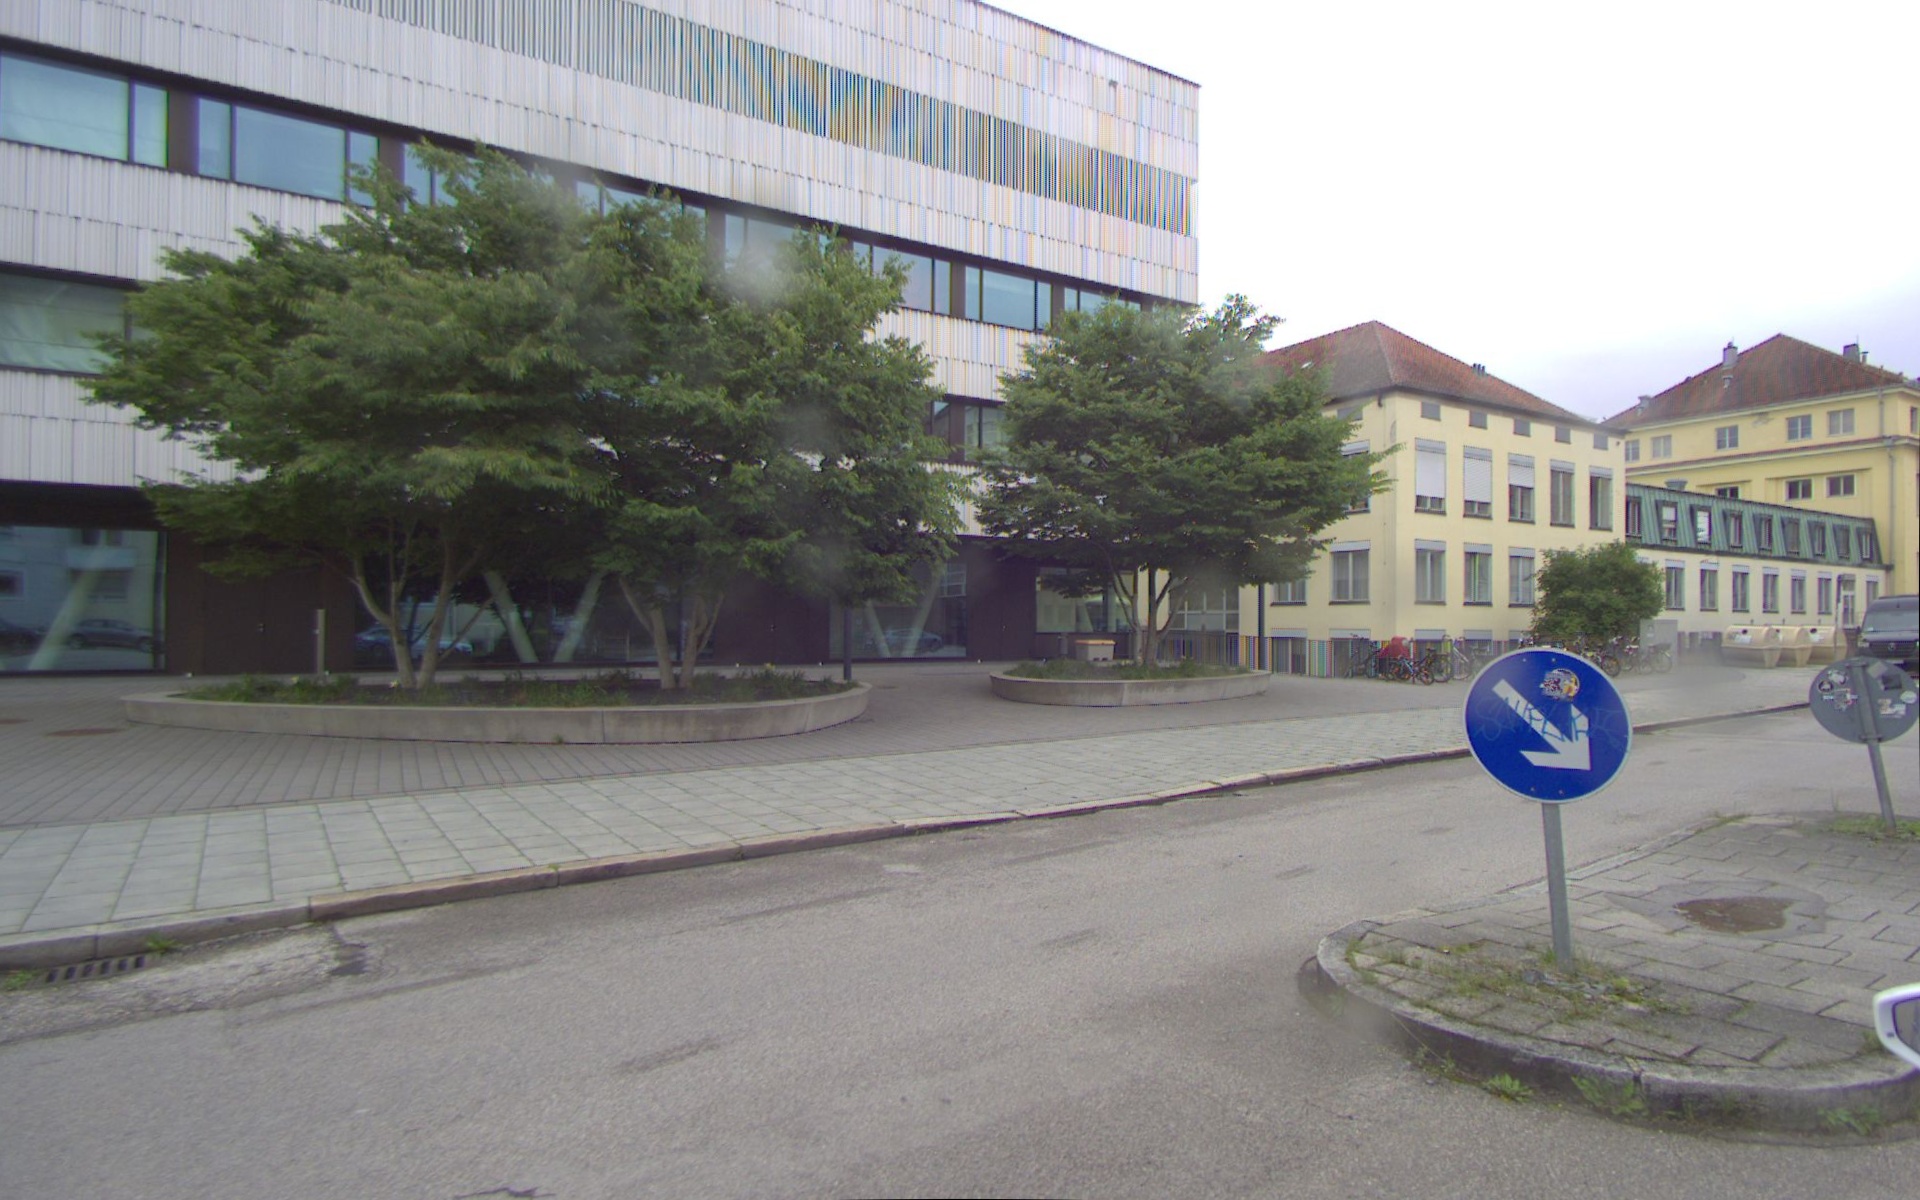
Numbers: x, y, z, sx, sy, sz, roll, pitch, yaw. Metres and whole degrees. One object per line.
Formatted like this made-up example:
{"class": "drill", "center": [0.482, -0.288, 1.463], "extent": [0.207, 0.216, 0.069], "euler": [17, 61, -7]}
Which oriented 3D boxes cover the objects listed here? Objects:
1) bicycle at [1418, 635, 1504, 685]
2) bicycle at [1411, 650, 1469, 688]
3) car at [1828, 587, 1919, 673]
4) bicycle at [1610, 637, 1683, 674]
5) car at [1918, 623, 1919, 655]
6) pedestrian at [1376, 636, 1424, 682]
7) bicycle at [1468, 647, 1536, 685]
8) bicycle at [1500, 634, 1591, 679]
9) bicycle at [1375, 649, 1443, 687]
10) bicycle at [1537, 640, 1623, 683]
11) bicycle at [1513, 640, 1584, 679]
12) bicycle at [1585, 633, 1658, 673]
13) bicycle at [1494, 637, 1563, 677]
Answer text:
{"class": "bicycle", "center": [13.955, 1.651, 28.033], "extent": [0.776, 1.244, 2.097], "euler": [0, 1, -26]}
{"class": "bicycle", "center": [12.703, 1.813, 26.615], "extent": [0.434, 0.874, 1.365], "euler": [0, 1, -30]}
{"class": "car", "center": [32.345, 1.074, 34.755], "extent": [5.901, 2.750, 2.403], "euler": [2, -3, -39]}
{"class": "bicycle", "center": [22.715, 1.826, 33.280], "extent": [0.668, 1.107, 1.898], "euler": [0, 1, -26]}
{"class": "car", "center": [52.902, 2.090, 53.561], "extent": [3.705, 1.683, 1.711], "euler": [0, 1, -31]}
{"class": "pedestrian", "center": [11.967, 1.587, 27.312], "extent": [1.029, 1.178, 0.714], "euler": [0, 1, -32]}
{"class": "bicycle", "center": [15.427, 1.870, 28.641], "extent": [0.587, 0.928, 1.669], "euler": [0, 1, -26]}
{"class": "bicycle", "center": [17.404, 1.656, 29.936], "extent": [0.419, 1.222, 2.545], "euler": [0, -1, -26]}
{"class": "bicycle", "center": [11.758, 1.770, 26.358], "extent": [0.434, 0.874, 1.710], "euler": [0, 1, -30]}
{"class": "bicycle", "center": [19.127, 1.871, 31.056], "extent": [0.574, 1.150, 2.302], "euler": [0, 1, -26]}
{"class": "bicycle", "center": [17.814, 1.793, 30.449], "extent": [0.532, 1.043, 1.860], "euler": [0, 1, -26]}
{"class": "bicycle", "center": [21.329, 1.689, 32.441], "extent": [0.565, 1.147, 1.950], "euler": [0, 1, -26]}
{"class": "bicycle", "center": [16.744, 1.663, 29.614], "extent": [0.501, 1.047, 1.784], "euler": [0, 1, -26]}
